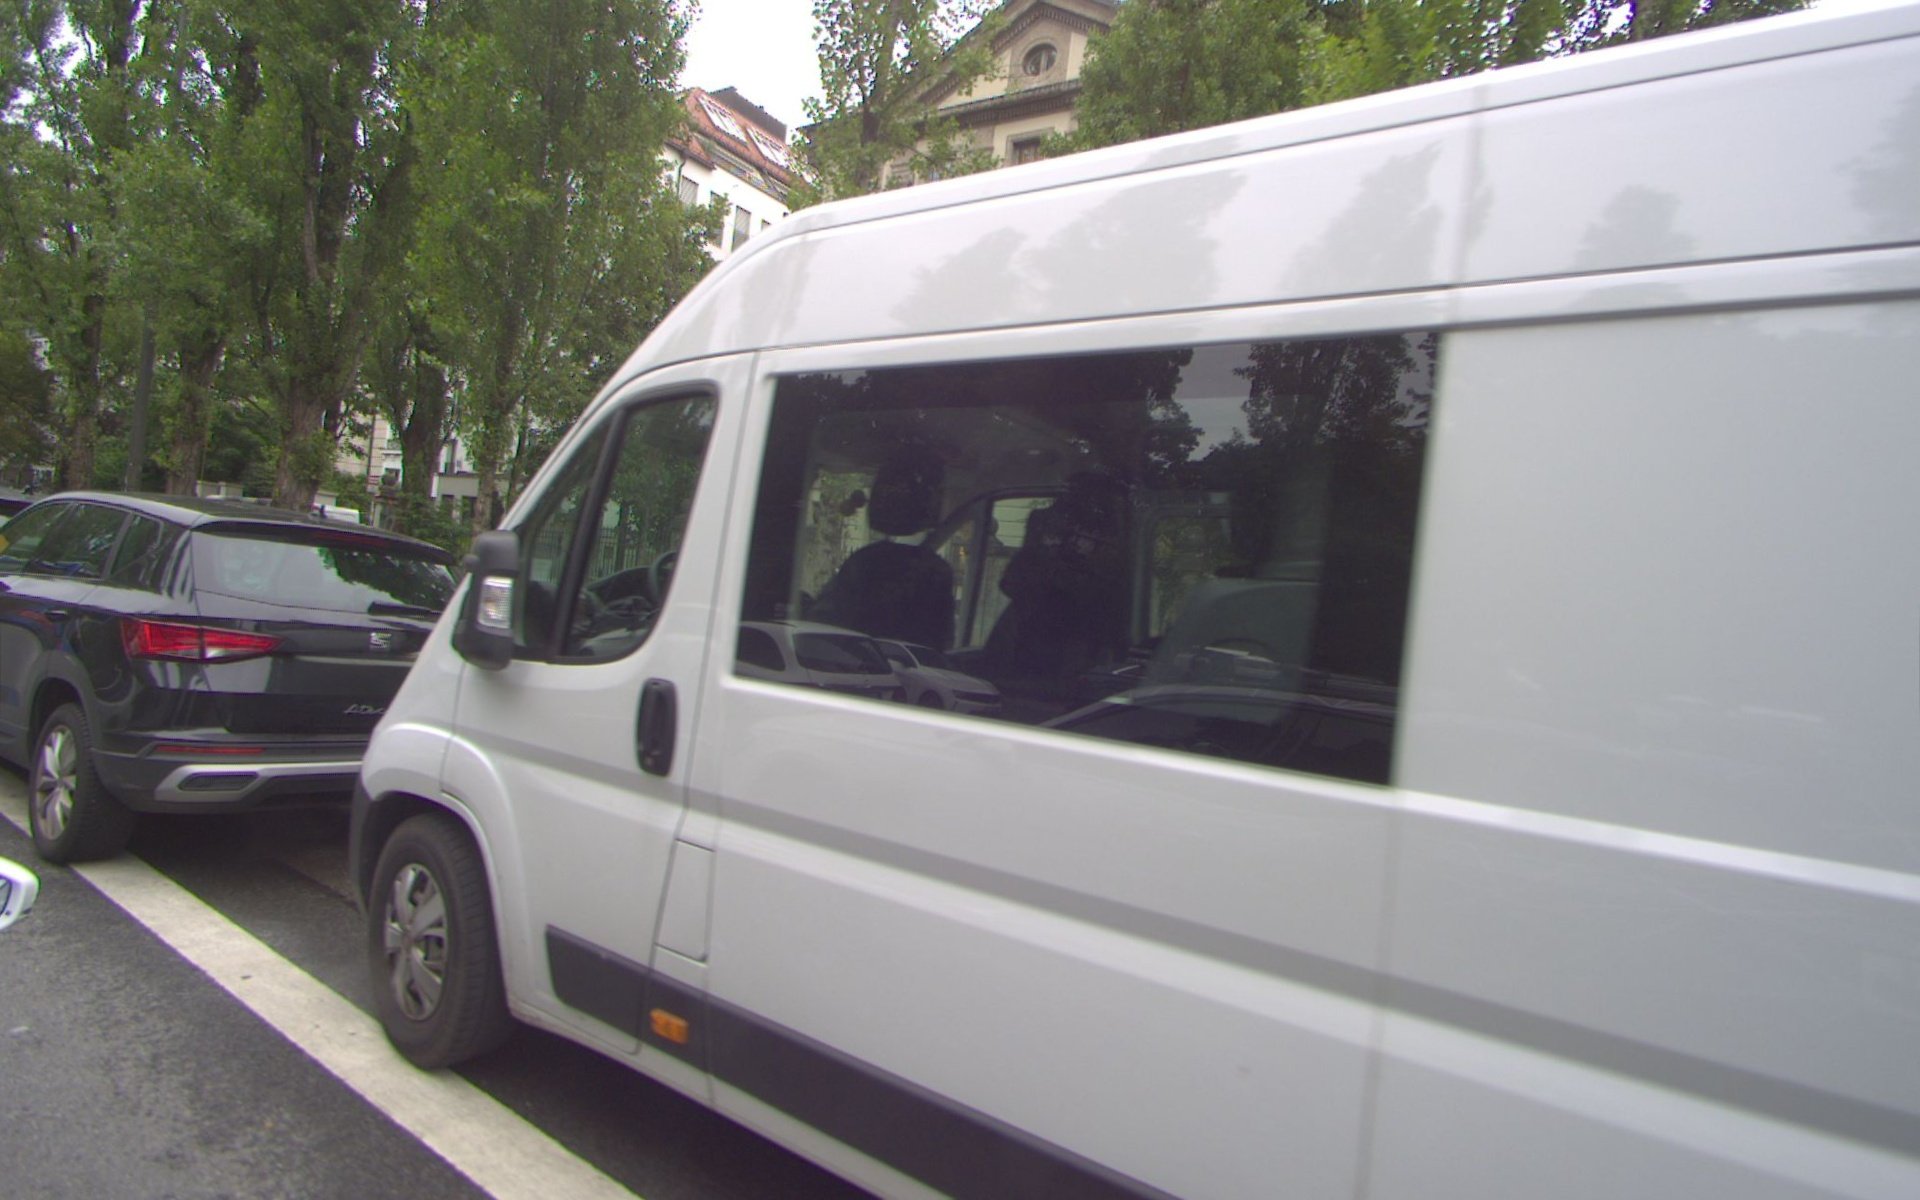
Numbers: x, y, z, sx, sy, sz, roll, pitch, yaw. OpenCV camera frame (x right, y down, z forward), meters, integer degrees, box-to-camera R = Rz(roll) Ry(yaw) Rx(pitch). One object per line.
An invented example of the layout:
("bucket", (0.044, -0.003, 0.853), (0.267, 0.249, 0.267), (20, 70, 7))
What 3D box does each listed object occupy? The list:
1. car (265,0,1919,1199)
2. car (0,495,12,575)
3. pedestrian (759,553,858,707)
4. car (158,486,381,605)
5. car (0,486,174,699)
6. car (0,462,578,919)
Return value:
("car", (1.072, 0.310, 2.292), (6.183, 2.508, 2.076), (7, -1, 34))
("car", (-12.503, -0.684, 11.358), (4.082, 1.462, 1.636), (7, -2, 34))
("pedestrian", (-1.747, 0.352, 11.646), (0.622, 1.679, 0.715), (7, 0, 33))
("car", (-14.846, -1.204, 21.534), (5.238, 1.949, 1.995), (7, 0, 34))
("car", (-8.511, -0.233, 8.512), (4.048, 1.521, 1.653), (7, -1, 34))
("car", (-4.242, 0.223, 5.516), (4.155, 1.609, 1.823), (7, -1, 34))
